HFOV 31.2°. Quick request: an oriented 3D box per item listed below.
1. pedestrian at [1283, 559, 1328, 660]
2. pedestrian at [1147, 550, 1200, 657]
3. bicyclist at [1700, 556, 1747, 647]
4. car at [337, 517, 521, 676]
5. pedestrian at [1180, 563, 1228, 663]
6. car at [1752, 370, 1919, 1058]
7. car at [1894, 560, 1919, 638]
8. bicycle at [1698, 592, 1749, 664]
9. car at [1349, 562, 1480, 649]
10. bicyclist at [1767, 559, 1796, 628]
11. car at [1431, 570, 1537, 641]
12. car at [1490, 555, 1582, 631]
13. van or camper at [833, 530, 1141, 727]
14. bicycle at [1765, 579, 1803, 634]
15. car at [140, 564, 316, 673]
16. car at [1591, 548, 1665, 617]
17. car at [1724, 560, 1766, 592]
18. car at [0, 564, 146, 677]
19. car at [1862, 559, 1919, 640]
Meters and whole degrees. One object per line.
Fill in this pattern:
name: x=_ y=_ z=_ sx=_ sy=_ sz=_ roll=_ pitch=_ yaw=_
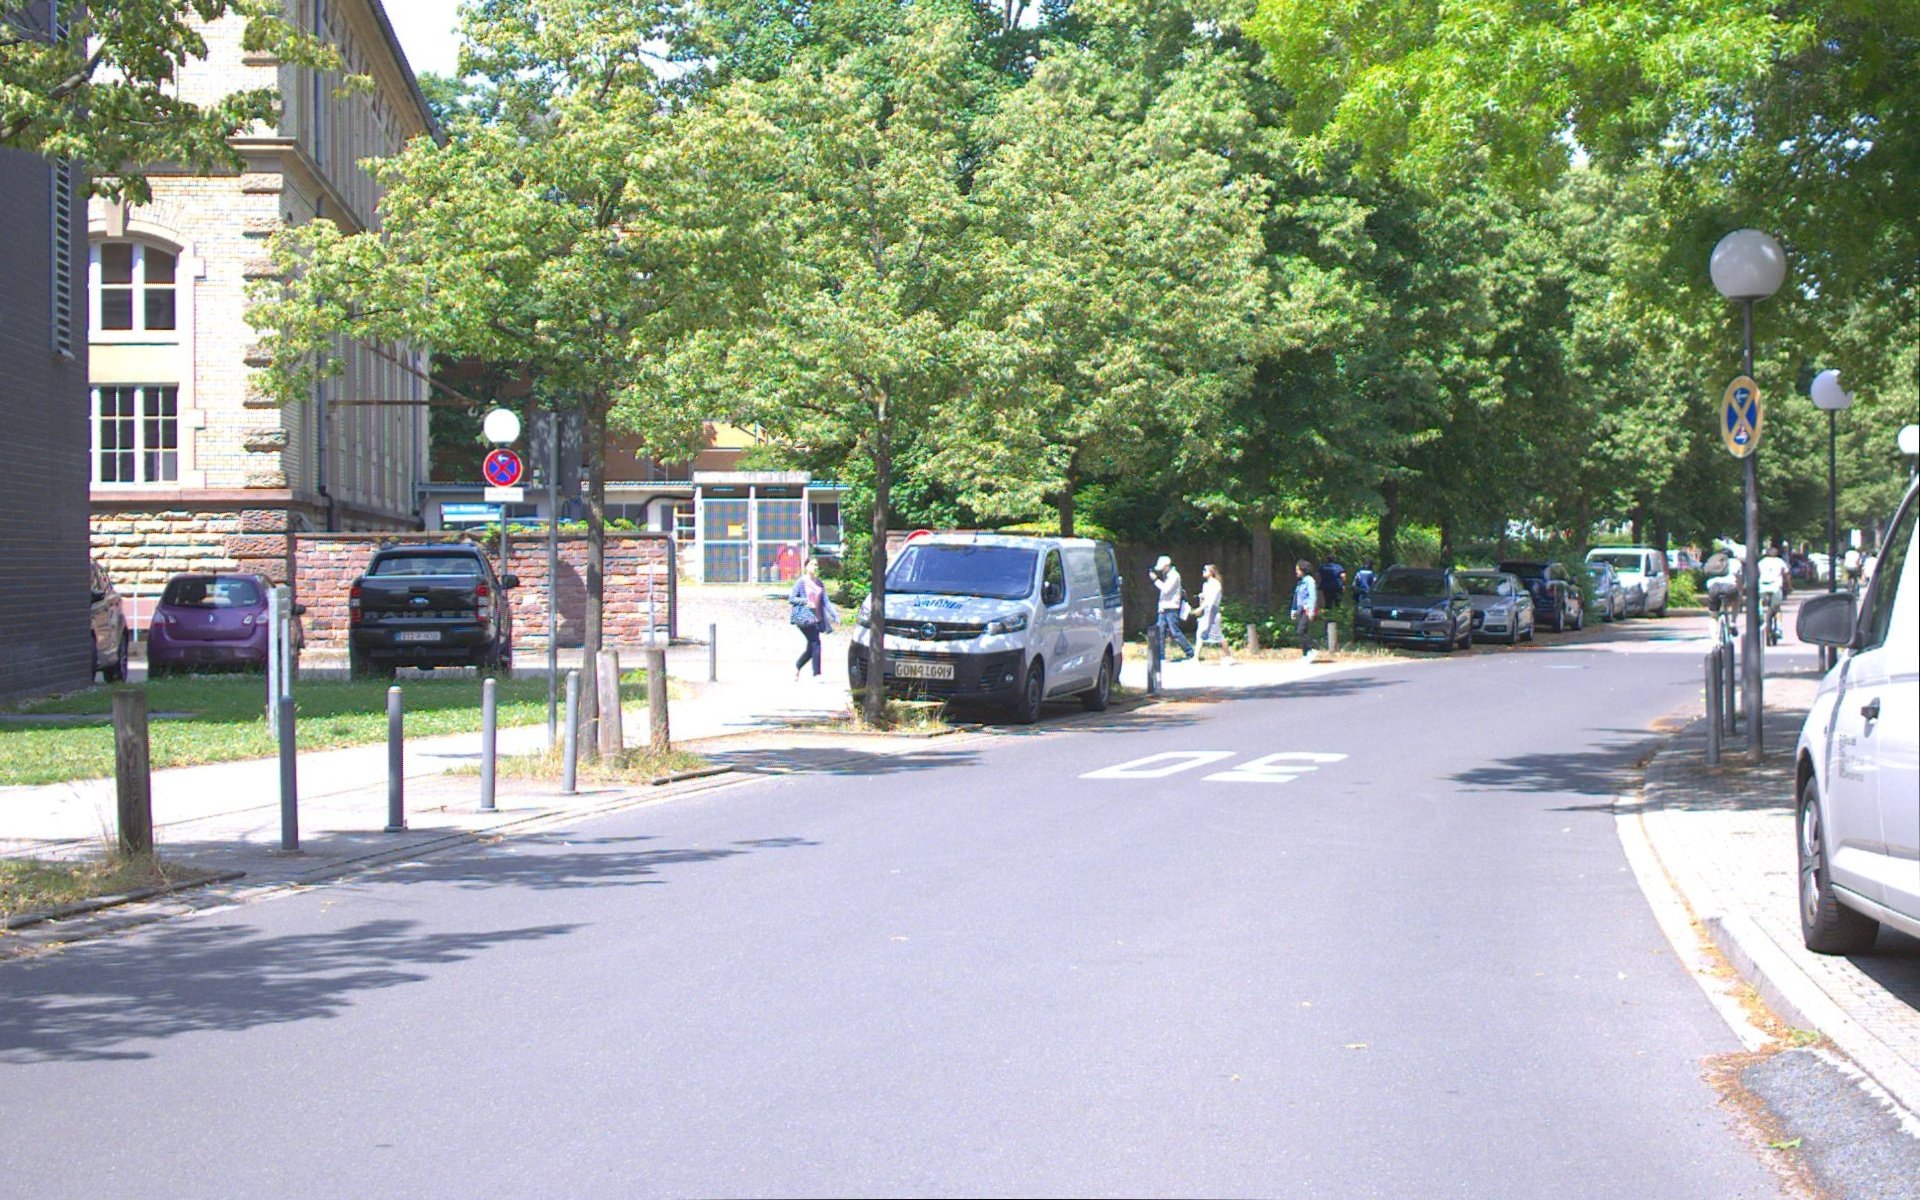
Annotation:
pedestrian: x=5.429 y=0.151 z=54.049 sx=0.494 sy=1.580 sz=0.494 roll=0 pitch=1 yaw=-33
pedestrian: x=3.341 y=0.054 z=53.789 sx=0.626 sy=1.657 sz=0.603 roll=0 pitch=0 yaw=-24
bicyclist: x=10.852 y=0.016 z=48.845 sx=0.610 sy=1.291 sz=0.610 roll=0 pitch=0 yaw=16
car: x=-6.779 y=-0.072 z=44.382 sx=2.174 sy=1.919 sz=5.187 roll=0 pitch=1 yaw=-7
pedestrian: x=3.725 y=0.192 z=52.519 sx=0.583 sy=1.522 sz=0.494 roll=0 pitch=0 yaw=-17
car: x=3.598 y=0.297 z=9.966 sx=1.849 sy=1.885 sz=4.889 roll=-1 pitch=1 yaw=5
car: x=21.379 y=-0.061 z=70.434 sx=4.260 sy=1.583 sz=1.809 roll=-1 pitch=0 yaw=17
bicycle: x=10.858 y=0.388 z=48.867 sx=0.614 sy=0.997 sz=1.422 roll=0 pitch=1 yaw=16
car: x=8.250 y=0.078 z=62.177 sx=1.761 sy=1.516 sz=4.108 roll=0 pitch=1 yaw=16
bicyclist: x=15.593 y=-0.123 z=65.255 sx=0.523 sy=1.291 sz=0.610 roll=0 pitch=0 yaw=16
car: x=10.606 y=0.090 z=69.438 sx=1.617 sy=1.383 sz=3.997 roll=0 pitch=1 yaw=16
car: x=13.055 y=-0.180 z=77.764 sx=1.617 sy=1.673 sz=3.997 roll=0 pitch=1 yaw=16
van or camper: x=0.395 y=0.246 z=36.689 sx=1.955 sy=1.916 sz=5.416 roll=1 pitch=1 yaw=15
bicycle: x=15.634 y=0.114 z=65.217 sx=0.614 sy=0.997 sz=1.422 roll=-1 pitch=1 yaw=16
car: x=-9.349 y=0.207 z=44.144 sx=1.817 sy=1.319 sz=3.768 roll=0 pitch=1 yaw=-6
car: x=17.947 y=-0.477 z=92.269 sx=1.617 sy=1.809 sz=3.997 roll=0 pitch=1 yaw=16
car: x=33.985 y=-1.049 z=148.741 sx=1.617 sy=1.360 sz=4.559 roll=0 pitch=1 yaw=15
car: x=-11.606 y=0.227 z=43.868 sx=1.817 sy=1.319 sz=4.163 roll=2 pitch=1 yaw=-6
car: x=19.649 y=-0.044 z=65.838 sx=4.489 sy=1.520 sz=1.809 roll=-1 pitch=0 yaw=17
